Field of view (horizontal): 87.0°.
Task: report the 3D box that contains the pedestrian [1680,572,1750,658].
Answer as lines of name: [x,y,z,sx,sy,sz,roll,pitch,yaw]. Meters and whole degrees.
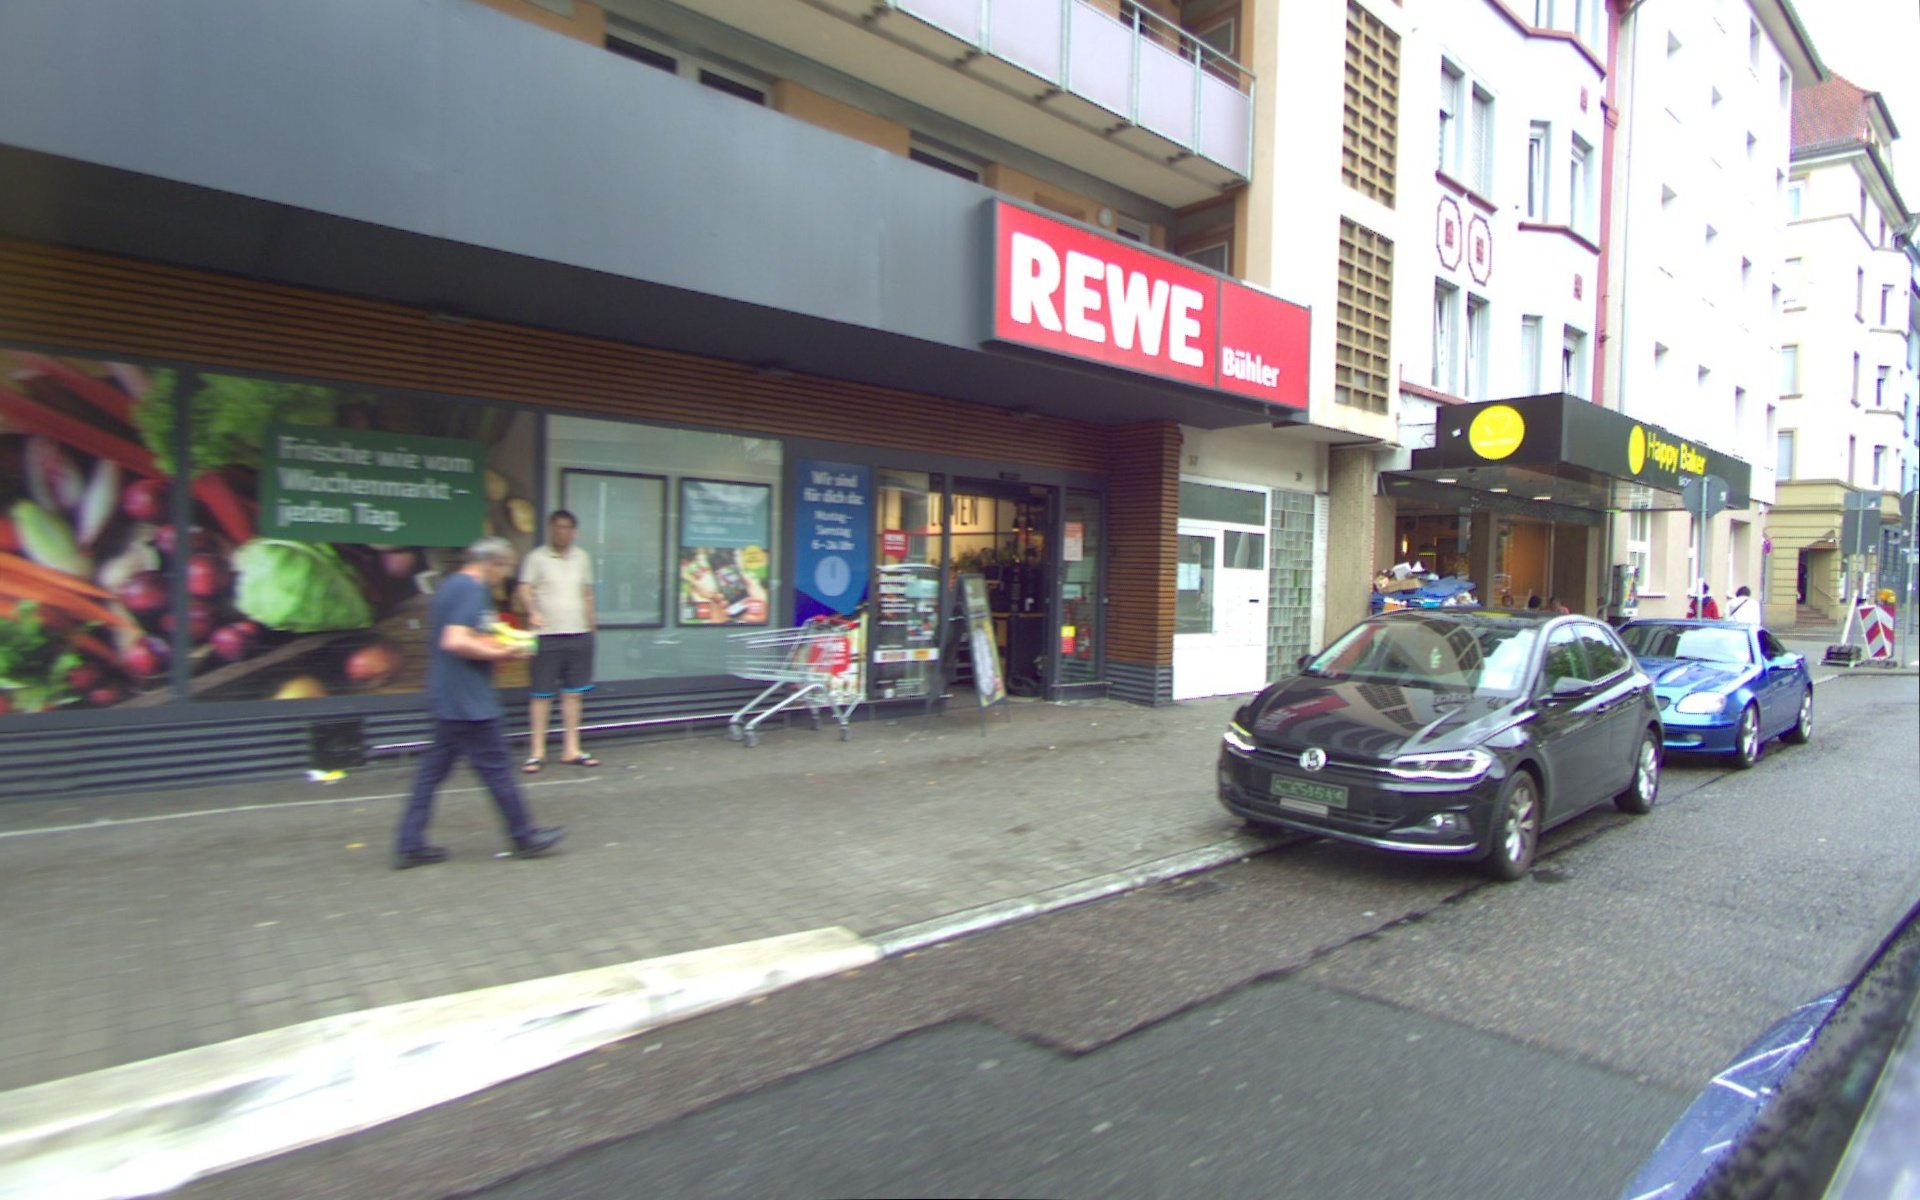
pedestrian: [15.296,0.289,20.517,0.767,1.667,0.705,2,3,-6]

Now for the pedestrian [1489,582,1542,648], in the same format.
pedestrian: [11.328,0.300,20.632,0.647,1.273,0.703,0,4,-40]

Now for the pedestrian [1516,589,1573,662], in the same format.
pedestrian: [10.796,0.458,18.700,0.645,1.273,0.625,1,3,-33]

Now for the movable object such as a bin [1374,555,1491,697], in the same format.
movable object such as a bin: [6.439,0.300,13.783,1.274,1.815,1.001,-1,3,-43]

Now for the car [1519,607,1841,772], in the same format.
car: [7.423,0.764,10.324,3.699,1.327,1.738,-1,0,-39]

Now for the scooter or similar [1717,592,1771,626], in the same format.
scooter or similar: [28.655,0.324,37.016,1.456,1.163,0.486,-1,5,12]

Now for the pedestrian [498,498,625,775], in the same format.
pedestrian: [-2.885,0.237,7.325,0.714,1.882,0.597,-1,1,-37]

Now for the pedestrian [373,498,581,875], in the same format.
pedestrian: [-2.375,0.389,4.976,0.735,1.673,0.627,3,-1,-38]

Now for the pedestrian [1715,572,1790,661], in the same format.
pedestrian: [15.494,0.317,19.802,0.767,1.667,0.705,2,3,-6]

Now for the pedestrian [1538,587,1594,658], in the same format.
pedestrian: [11.616,0.417,19.403,0.647,1.273,0.703,0,4,-40]

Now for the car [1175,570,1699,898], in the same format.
car: [3.354,0.652,6.785,3.911,1.567,1.733,0,-1,-41]
